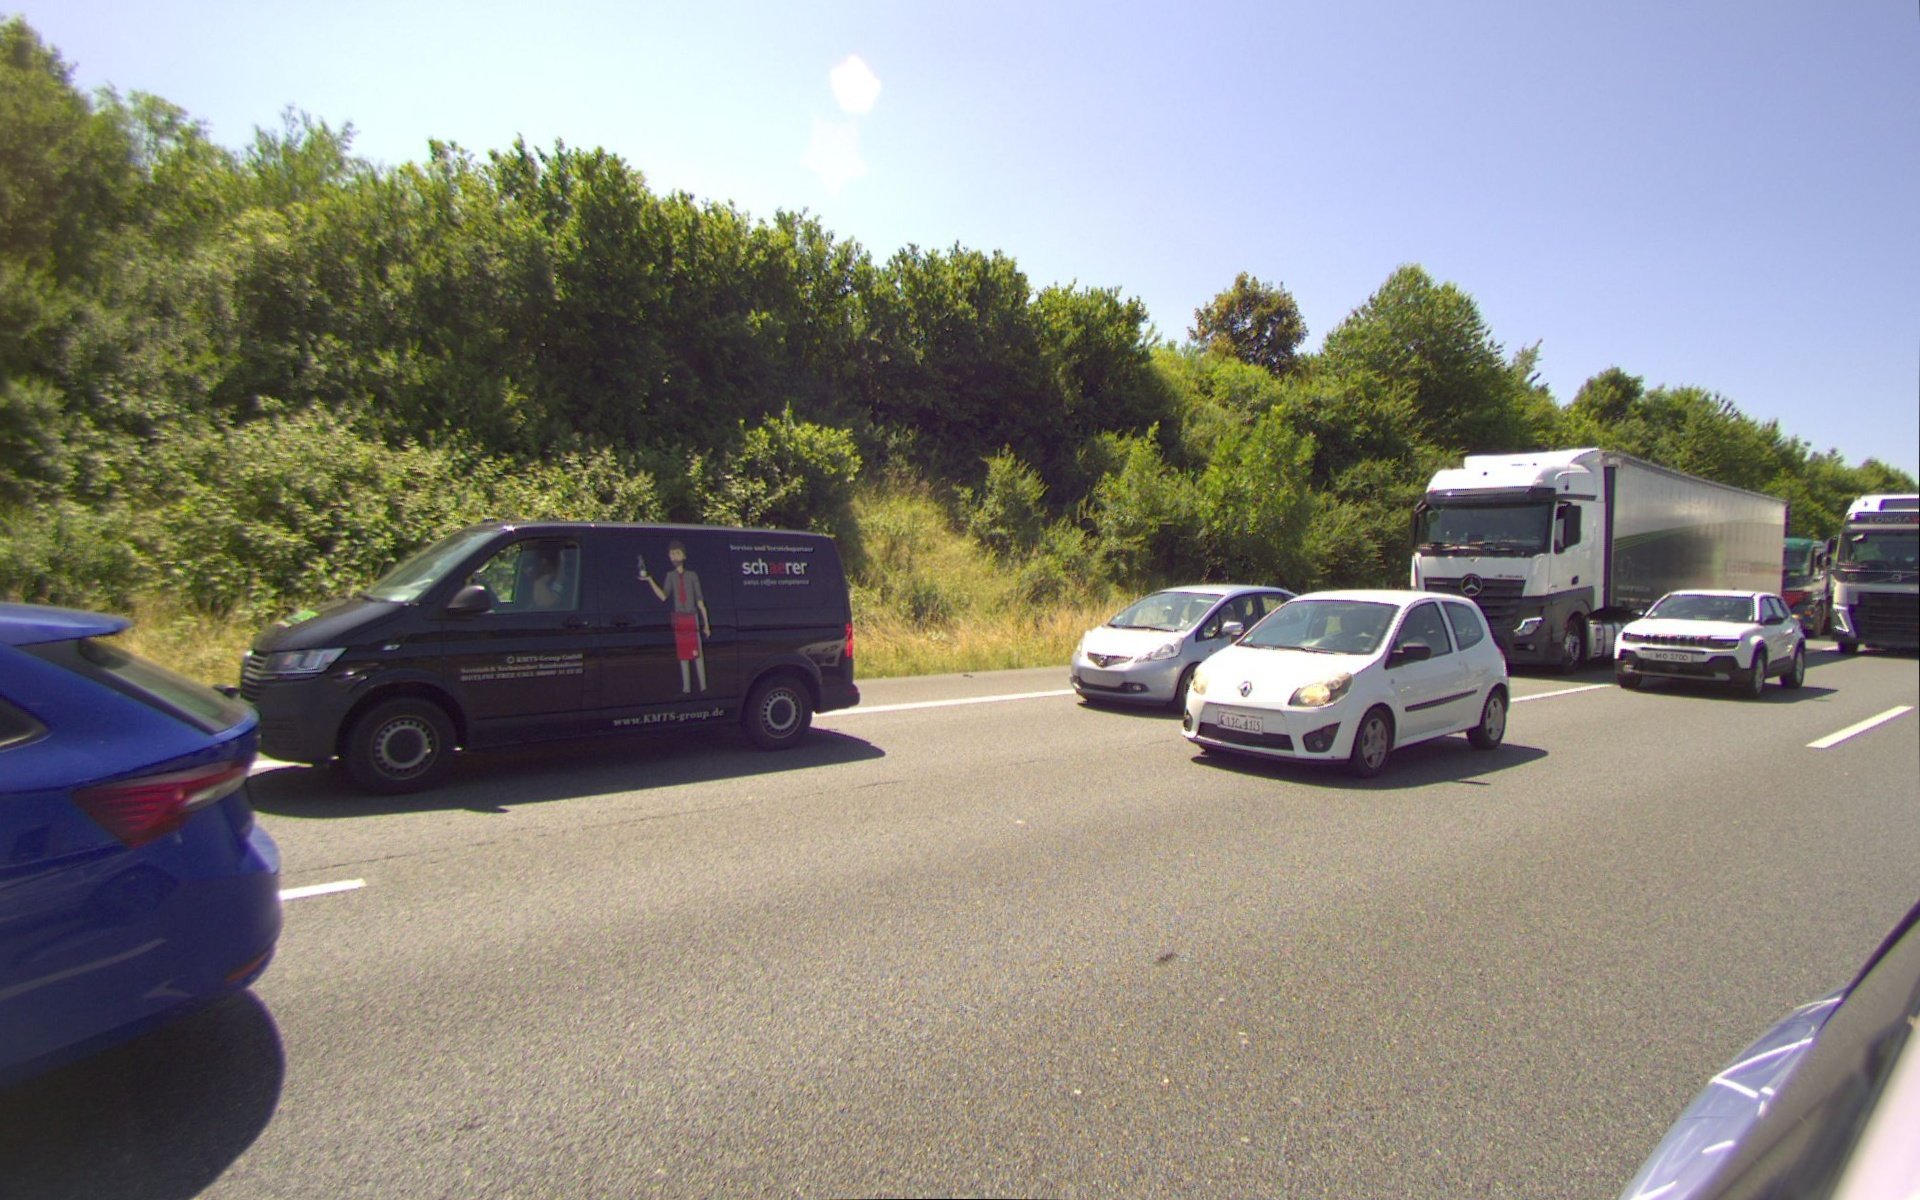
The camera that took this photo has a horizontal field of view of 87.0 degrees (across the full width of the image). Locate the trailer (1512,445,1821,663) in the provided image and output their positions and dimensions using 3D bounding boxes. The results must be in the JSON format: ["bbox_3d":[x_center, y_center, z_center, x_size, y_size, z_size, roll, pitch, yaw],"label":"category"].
[{"bbox_3d":[17.455,-0.992,24.436,11.857,4.208,2.880,-1,2,-39],"label":"trailer"}]

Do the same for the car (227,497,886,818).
[{"bbox_3d":[-3.113,0.273,8.445,4.770,1.964,1.918,-1,3,-39],"label":"car"}]

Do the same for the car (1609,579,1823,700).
[{"bbox_3d":[11.736,0.497,15.637,3.815,1.577,1.748,-1,3,-39],"label":"car"}]

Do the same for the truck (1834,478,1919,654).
[{"bbox_3d":[25.098,-0.827,25.803,8.209,4.044,2.750,-1,2,-39],"label":"truck"}]

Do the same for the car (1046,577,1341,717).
[{"bbox_3d":[3.062,0.482,12.894,3.853,1.479,1.666,-1,3,-40],"label":"car"}]

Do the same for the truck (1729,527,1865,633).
[{"bbox_3d":[27.308,-0.653,32.953,5.572,3.185,2.300,-1,2,-39],"label":"truck"}]

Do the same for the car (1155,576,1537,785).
[{"bbox_3d":[3.608,0.544,9.181,3.743,1.451,1.609,-1,4,-40],"label":"car"}]

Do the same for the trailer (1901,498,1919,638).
[{"bbox_3d":[31.675,-0.935,31.048,8.990,4.023,2.776,-1,2,-39],"label":"trailer"}]

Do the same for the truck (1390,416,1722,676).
[{"bbox_3d":[12.074,-0.953,20.101,8.322,4.208,2.880,-1,2,-39],"label":"truck"}]

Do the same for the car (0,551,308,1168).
[{"bbox_3d":[-4.049,0.618,1.944,4.495,1.433,1.779,-2,4,-42],"label":"car"}]
